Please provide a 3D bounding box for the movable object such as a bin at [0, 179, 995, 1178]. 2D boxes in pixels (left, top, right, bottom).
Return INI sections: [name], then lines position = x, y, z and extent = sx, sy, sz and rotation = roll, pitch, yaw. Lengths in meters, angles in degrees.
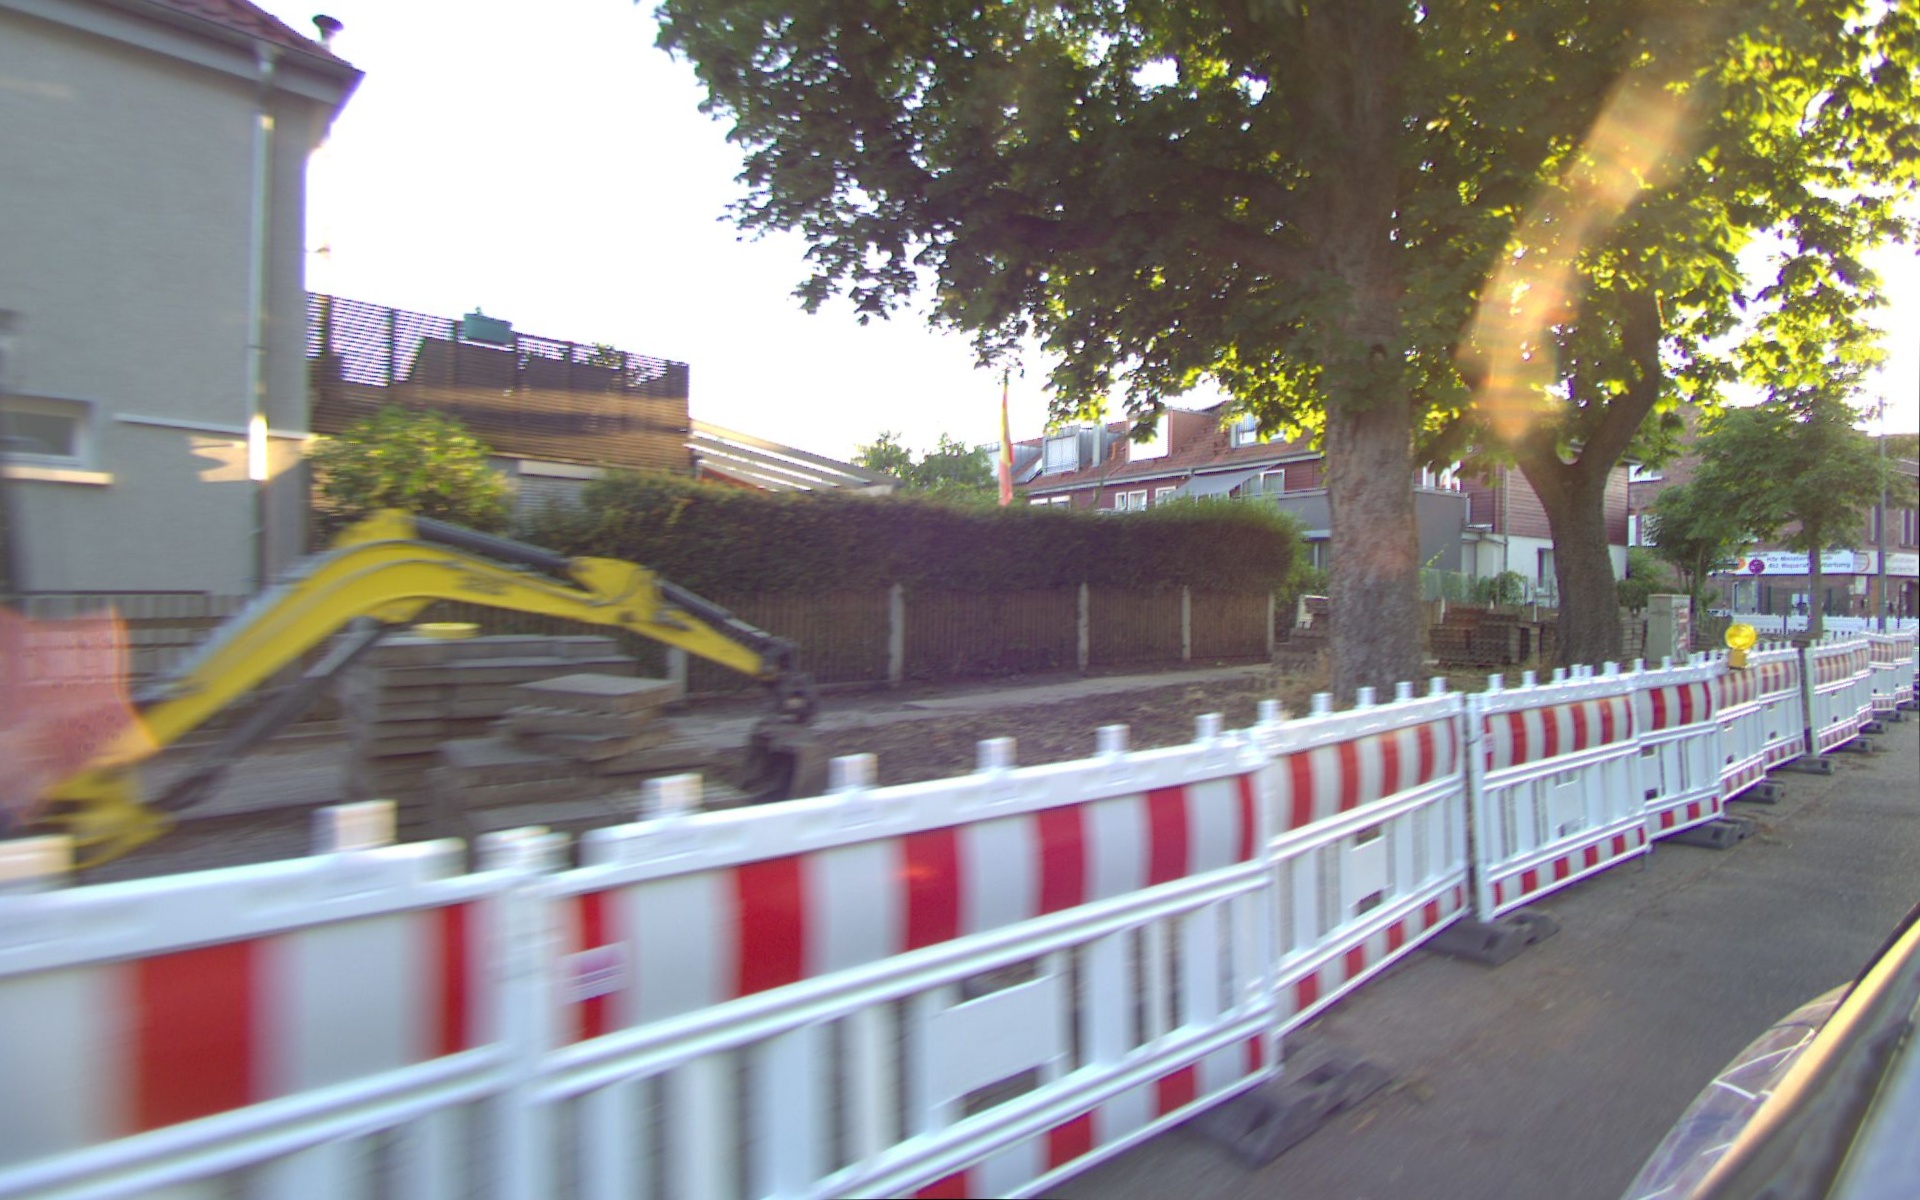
[movable object such as a bin]
position = -2.511, 0.200, 4.214
extent = 2.627, 2.433, 5.116
rotation = 0, -1, 43
